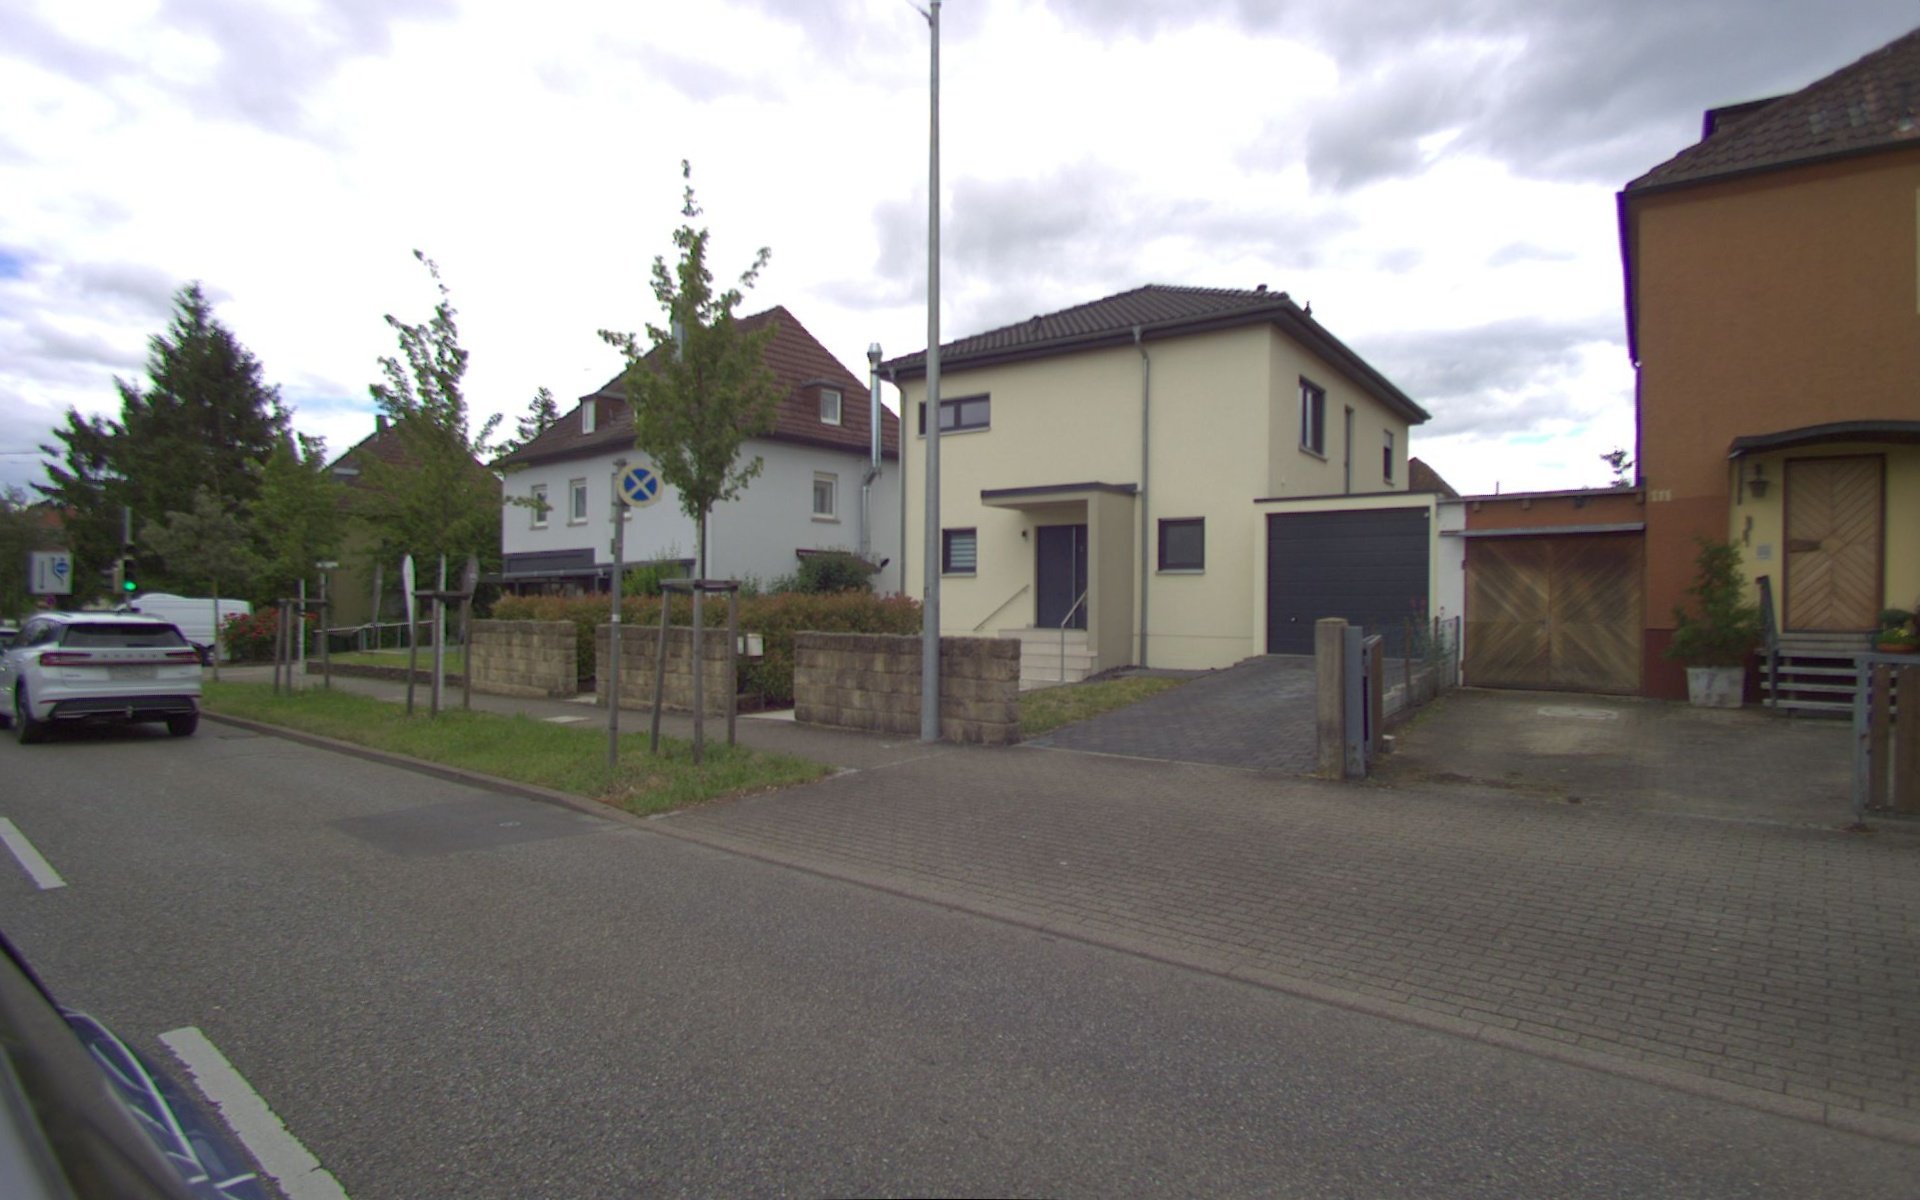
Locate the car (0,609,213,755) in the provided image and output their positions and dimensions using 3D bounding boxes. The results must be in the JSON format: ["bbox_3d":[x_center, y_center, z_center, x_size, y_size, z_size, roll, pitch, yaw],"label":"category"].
[{"bbox_3d":[-12.045,1.021,13.958,4.462,1.706,1.795,-1,-3,40],"label":"car"}]

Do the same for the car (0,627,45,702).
[{"bbox_3d":[-20.597,1.307,21.190,3.997,1.483,1.599,-1,-3,40],"label":"car"}]

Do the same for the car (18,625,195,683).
[{"bbox_3d":[-26.689,1.629,31.900,1.969,1.633,4.653,-1,-1,-5],"label":"car"}]

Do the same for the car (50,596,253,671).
[{"bbox_3d":[-29.597,1.277,37.362,5.527,2.583,2.137,3,-2,-31],"label":"car"}]
